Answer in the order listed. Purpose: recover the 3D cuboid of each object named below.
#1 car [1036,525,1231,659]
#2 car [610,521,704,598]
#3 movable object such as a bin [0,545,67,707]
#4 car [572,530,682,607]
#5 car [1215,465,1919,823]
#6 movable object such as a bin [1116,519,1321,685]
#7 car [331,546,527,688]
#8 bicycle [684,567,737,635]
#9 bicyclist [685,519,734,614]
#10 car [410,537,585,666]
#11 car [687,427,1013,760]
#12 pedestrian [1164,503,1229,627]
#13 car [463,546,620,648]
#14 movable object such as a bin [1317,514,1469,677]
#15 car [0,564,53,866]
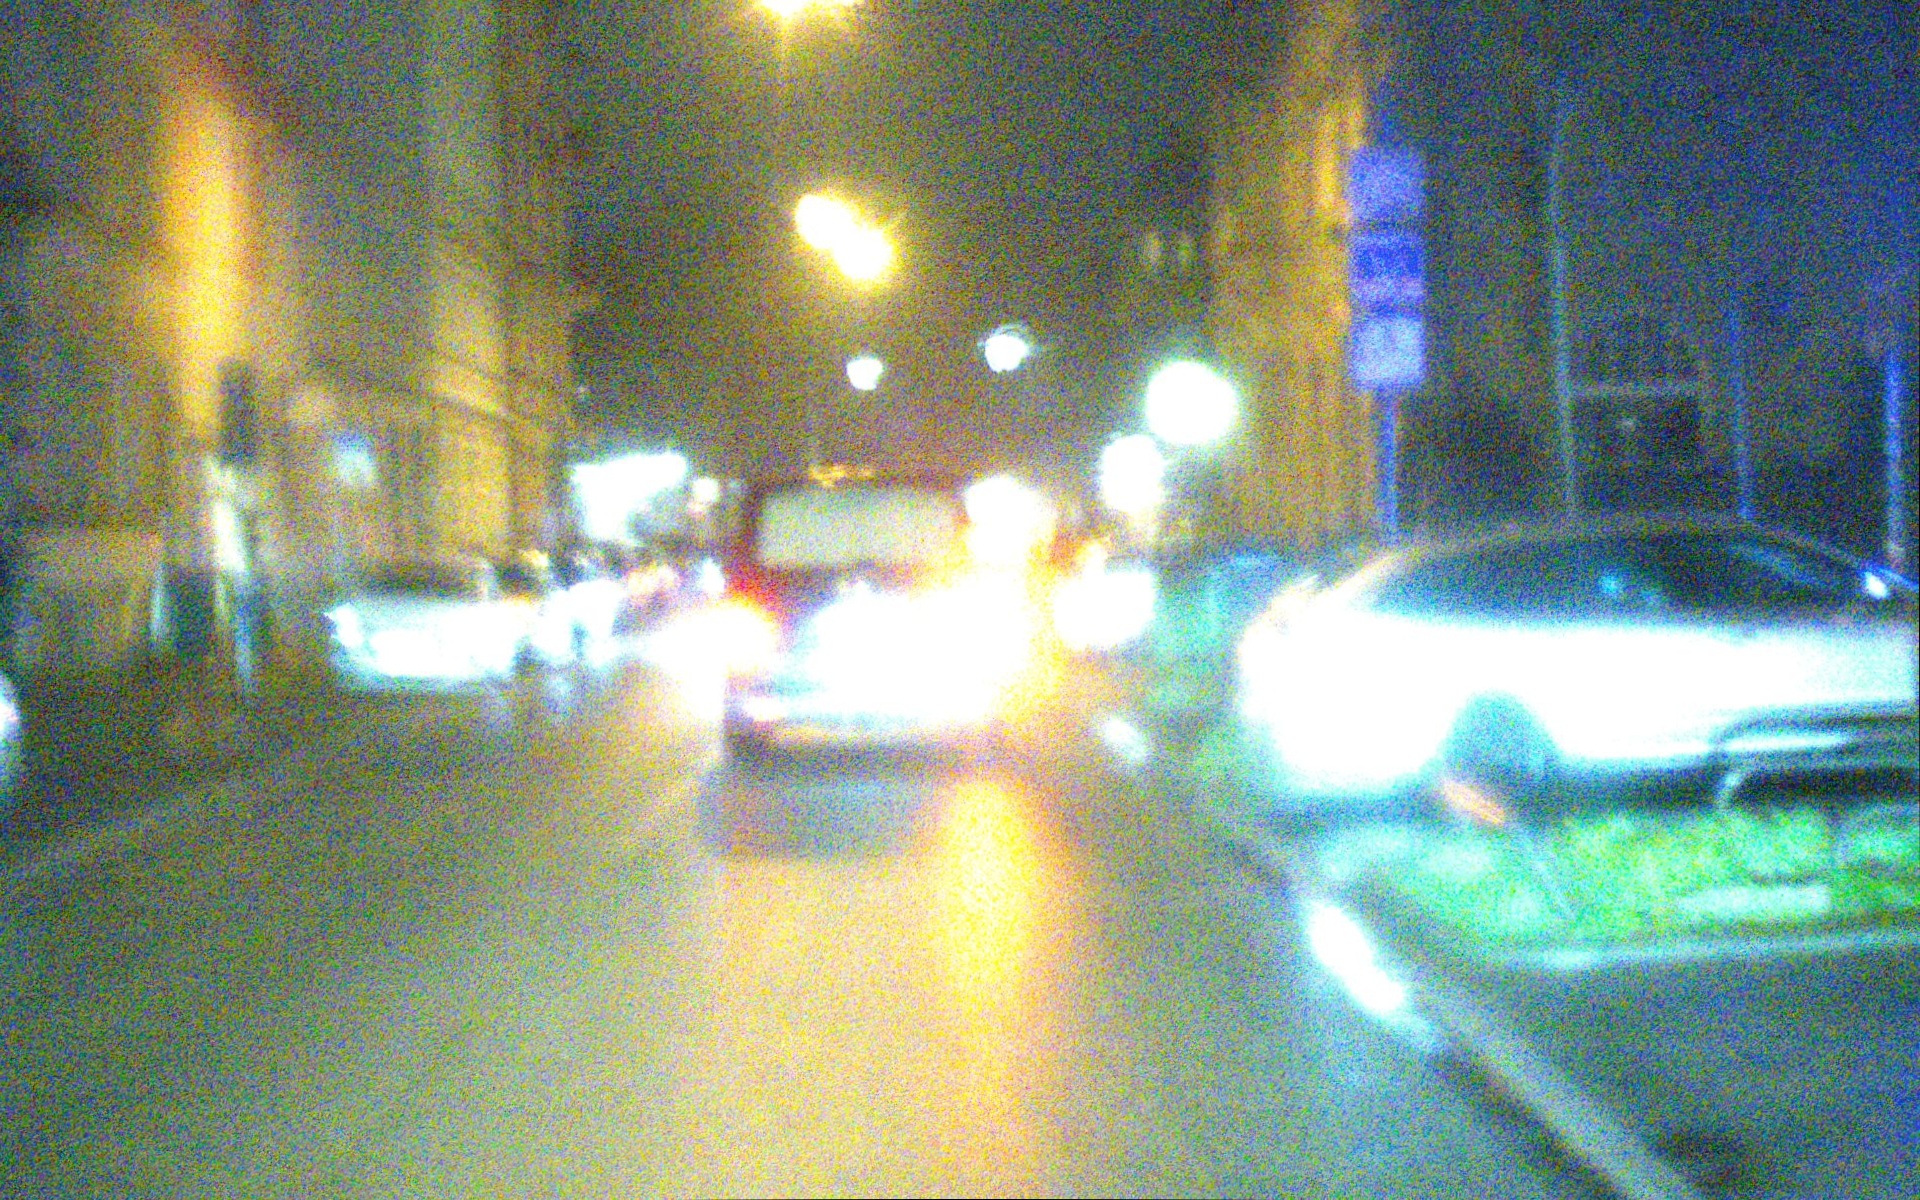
[{"bbox_3d":[2.009,-0.130,41.031,1.993,1.459,4.417,-2,1,-1],"label":"car"},{"bbox_3d":[-7.107,-0.974,81.026,1.832,1.711,4.595,-1,1,-1],"label":"car"},{"bbox_3d":[-8.970,0.239,31.704,1.101,1.449,1.379,-2,1,-3],"label":"movable object such as a bin"},{"bbox_3d":[-6.795,-0.675,70.561,1.832,1.481,4.595,-1,1,-1],"label":"car"},{"bbox_3d":[3.754,0.165,18.401,4.512,1.525,1.780,-5,1,-1],"label":"car"},{"bbox_3d":[2.318,0.006,30.823,1.337,1.424,1.201,-2,1,-37],"label":"movable object such as a bin"},{"bbox_3d":[-5.887,0.154,38.460,1.672,1.486,3.722,0,1,-1],"label":"car"},{"bbox_3d":[-4.189,0.001,57.886,0.727,1.069,2.348,-2,1,-1],"label":"bicycle"},{"bbox_3d":[-4.215,-0.565,57.897,0.718,1.551,0.895,-2,1,-1],"label":"bicyclist"},{"bbox_3d":[-6.043,-0.016,45.344,1.774,1.567,4.135,-2,1,-1],"label":"car"},{"bbox_3d":[-0.700,-0.094,23.875,1.996,2.042,4.694,-1,1,0],"label":"car"},{"bbox_3d":[3.542,-0.538,51.575,0.862,1.782,1.083,-3,2,3],"label":"pedestrian"},{"bbox_3d":[-6.131,-0.075,50.787,1.822,1.385,4.426,-2,1,-1],"label":"car"},{"bbox_3d":[3.933,-0.051,31.142,1.309,1.424,1.050,-1,1,9],"label":"movable object such as a bin"},{"bbox_3d":[-5.619,0.588,15.499,1.767,1.478,4.772,2,1,0],"label":"car"}]
